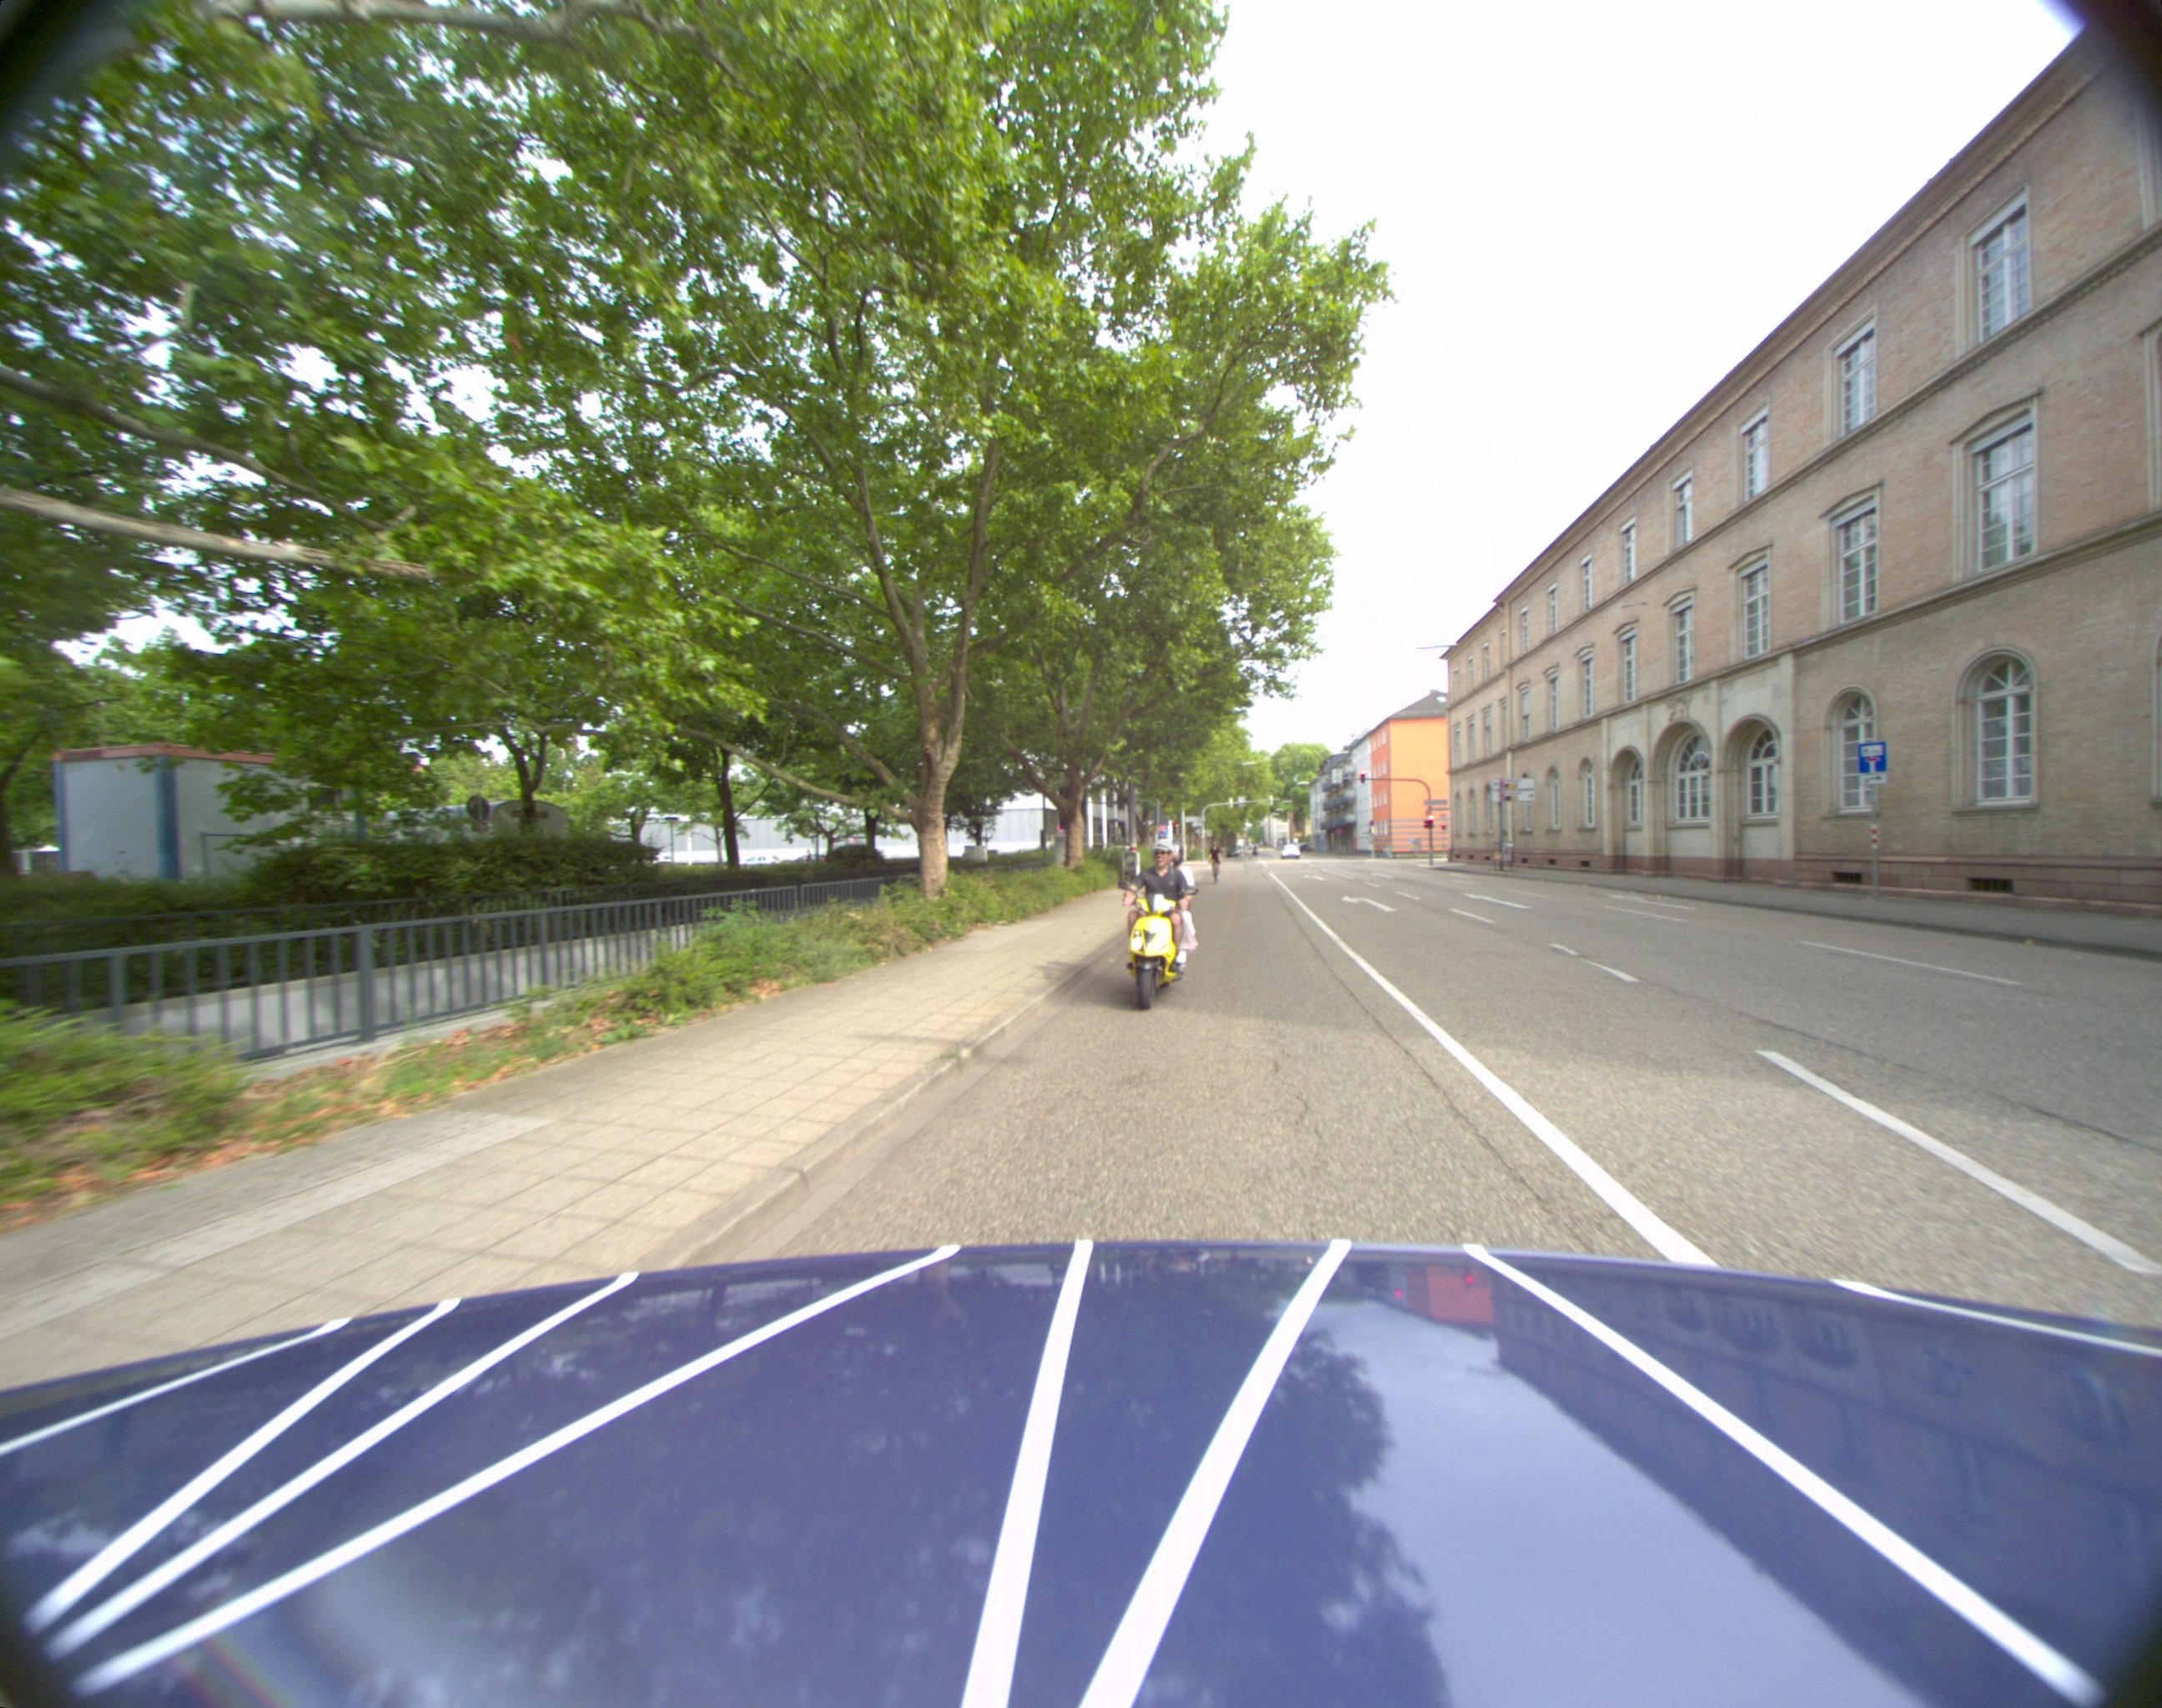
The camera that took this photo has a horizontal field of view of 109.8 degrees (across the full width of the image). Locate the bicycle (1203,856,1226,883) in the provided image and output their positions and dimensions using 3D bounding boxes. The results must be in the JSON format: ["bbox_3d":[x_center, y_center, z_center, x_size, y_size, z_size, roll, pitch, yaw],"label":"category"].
[{"bbox_3d":[5.664,0.652,32.152,0.770,1.009,2.410,-3,0,13],"label":"bicycle"}]

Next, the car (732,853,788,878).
[{"bbox_3d":[-28.405,0.980,67.345,3.996,2.002,2.000,-3,0,3],"label":"car"}]

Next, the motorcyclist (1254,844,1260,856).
[{"bbox_3d":[25.555,-0.619,110.282,0.781,1.651,1.113,-3,0,9],"label":"motorcyclist"}]

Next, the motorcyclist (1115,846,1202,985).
[{"bbox_3d":[0.839,0.640,8.128,0.780,1.419,0.689,-2,0,14],"label":"motorcyclist"}]

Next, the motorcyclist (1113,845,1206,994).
[{"bbox_3d":[0.813,0.643,7.687,0.780,1.419,0.765,-2,0,14],"label":"motorcyclist"}]

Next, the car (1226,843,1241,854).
[{"bbox_3d":[23.261,-0.811,116.151,1.996,1.532,4.275,-3,0,14],"label":"car"}]

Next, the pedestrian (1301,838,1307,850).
[{"bbox_3d":[41.330,-1.850,140.744,0.842,2.002,0.876,-3,1,16],"label":"pedestrian"}]

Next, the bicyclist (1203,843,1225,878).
[{"bbox_3d":[5.661,0.257,32.254,0.783,1.438,0.915,-3,0,13],"label":"bicyclist"}]

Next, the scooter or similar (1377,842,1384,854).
[{"bbox_3d":[28.135,-0.592,71.449,0.369,1.117,1.355,-3,0,12],"label":"scooter or similar"}]

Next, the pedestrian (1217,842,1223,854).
[{"bbox_3d":[24.455,-1.103,133.767,1.002,2.002,0.998,-3,1,14],"label":"pedestrian"}]

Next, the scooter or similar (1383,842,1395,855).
[{"bbox_3d":[26.487,-0.476,65.350,0.330,1.151,1.354,-3,0,-1],"label":"scooter or similar"}]

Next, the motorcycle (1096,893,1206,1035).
[{"bbox_3d":[0.777,1.038,7.792,0.780,1.171,1.995,-2,-1,14],"label":"motorcycle"}]

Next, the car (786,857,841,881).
[{"bbox_3d":[-23.290,1.267,66.199,3.996,1.849,2.000,-3,0,3],"label":"car"}]

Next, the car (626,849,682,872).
[{"bbox_3d":[-38.337,0.610,68.302,3.876,1.850,1.954,-3,0,3],"label":"car"}]

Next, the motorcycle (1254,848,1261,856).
[{"bbox_3d":[25.567,-0.272,110.252,0.781,1.171,1.994,-3,-1,9],"label":"motorcycle"}]

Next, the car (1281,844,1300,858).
[{"bbox_3d":[21.510,-0.327,78.090,1.671,1.430,3.823,-1,1,11],"label":"car"}]

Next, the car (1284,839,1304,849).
[{"bbox_3d":[48.279,-2.290,172.255,3.994,2.002,2.002,-3,0,11],"label":"car"}]

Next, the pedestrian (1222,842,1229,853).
[{"bbox_3d":[25.453,-1.155,133.523,1.002,2.002,0.998,-3,1,14],"label":"pedestrian"}]
